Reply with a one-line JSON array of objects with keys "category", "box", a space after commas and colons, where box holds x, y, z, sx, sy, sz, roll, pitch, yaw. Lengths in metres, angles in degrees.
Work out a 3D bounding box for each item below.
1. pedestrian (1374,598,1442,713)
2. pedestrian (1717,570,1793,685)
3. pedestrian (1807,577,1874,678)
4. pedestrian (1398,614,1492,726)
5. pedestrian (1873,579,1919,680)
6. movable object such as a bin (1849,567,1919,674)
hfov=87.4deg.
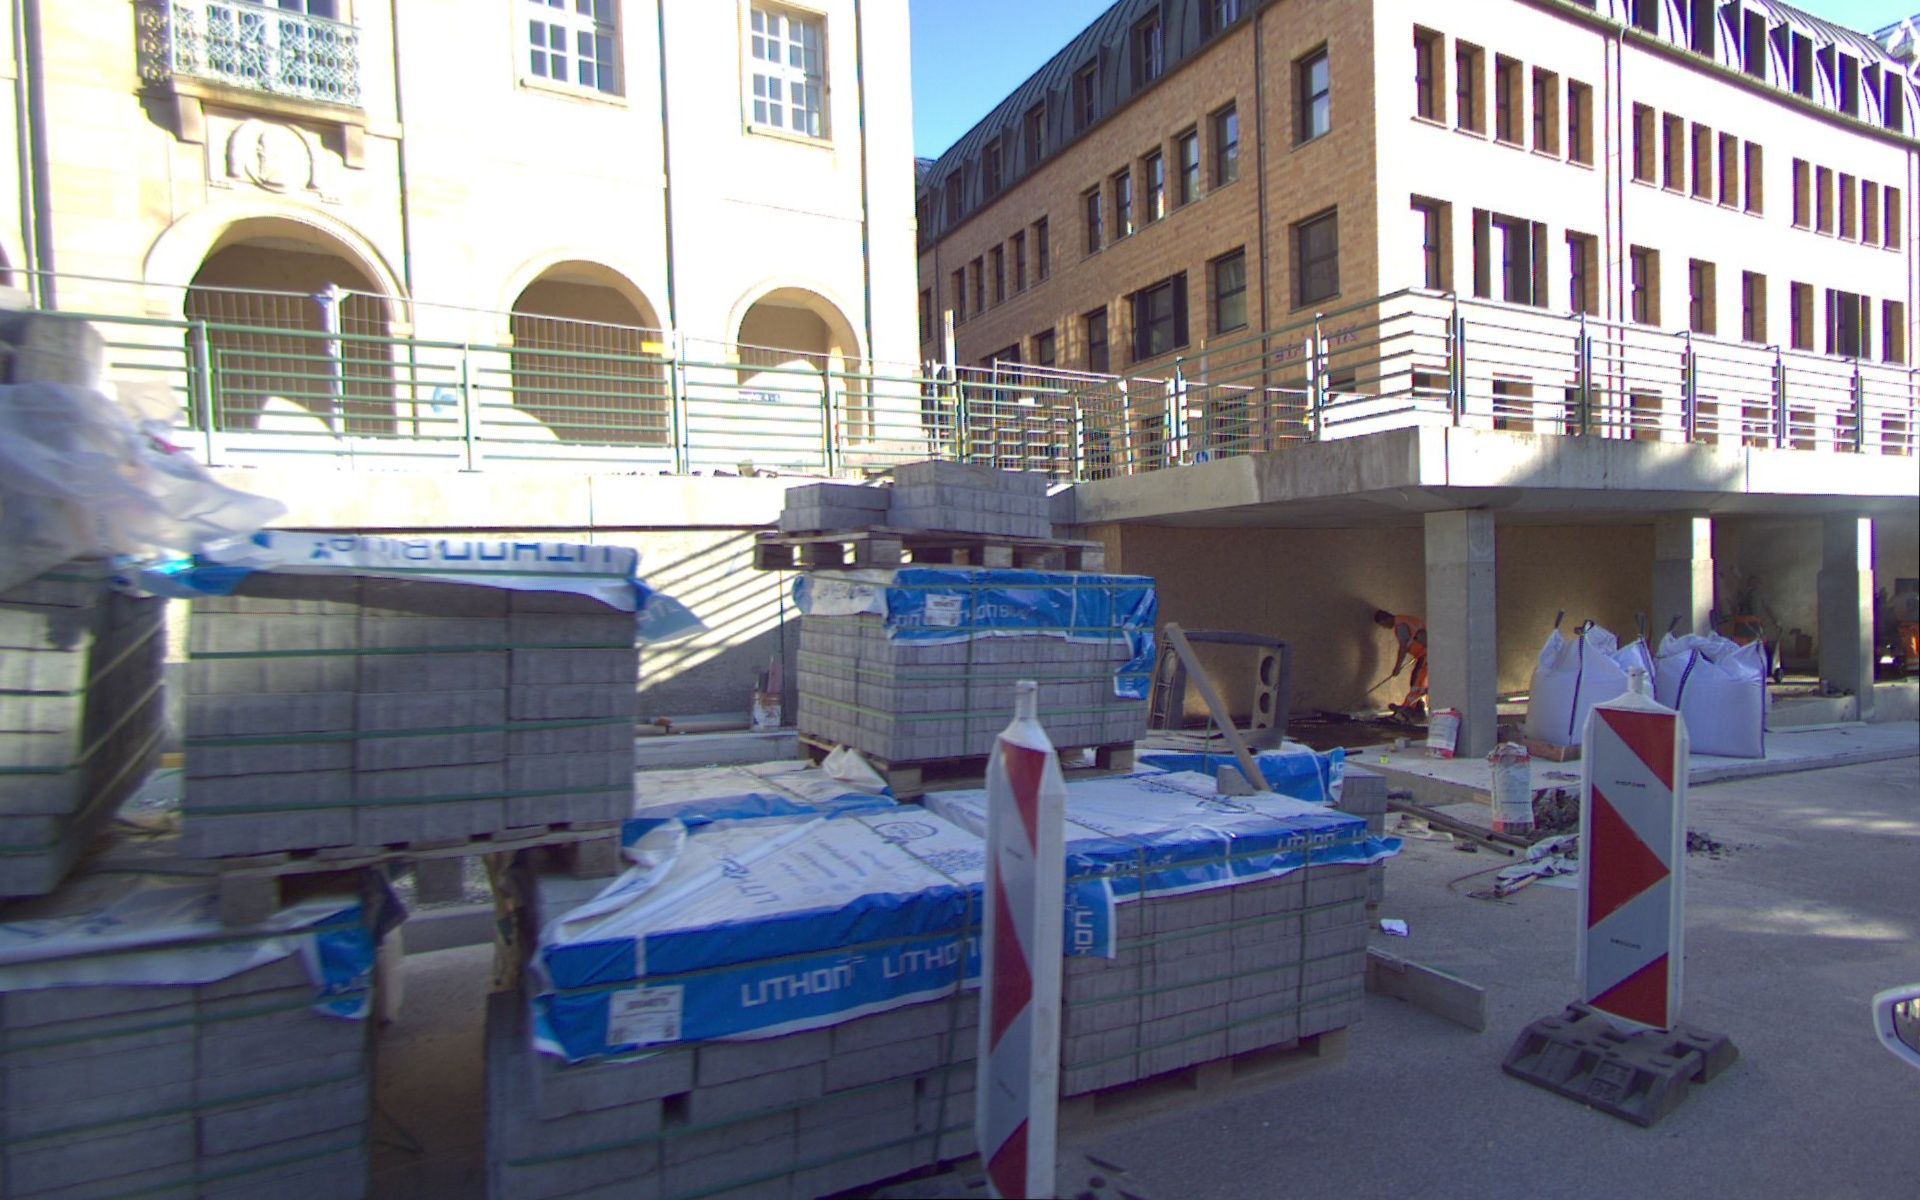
[{"category": "pedestrian", "box": [6.434, 0.775, 14.431, 0.625, 1.601, 0.644, 1, 0, -36]}, {"category": "pedestrian", "box": [14.082, 0.479, 17.801, 0.924, 1.983, 0.675, 1, 2, -27]}, {"category": "pedestrian", "box": [16.516, 0.506, 18.845, 0.701, 1.839, 0.701, 0, 2, -29]}, {"category": "pedestrian", "box": [6.486, 0.912, 13.451, 0.776, 1.417, 0.865, 1, 0, -36]}, {"category": "pedestrian", "box": [17.581, 0.532, 18.658, 0.615, 1.829, 0.656, 1, 1, -19]}, {"category": "movable object such as a bin", "box": [19.381, 0.392, 19.750, 3.120, 2.014, 1.877, 0, 1, -29]}]
